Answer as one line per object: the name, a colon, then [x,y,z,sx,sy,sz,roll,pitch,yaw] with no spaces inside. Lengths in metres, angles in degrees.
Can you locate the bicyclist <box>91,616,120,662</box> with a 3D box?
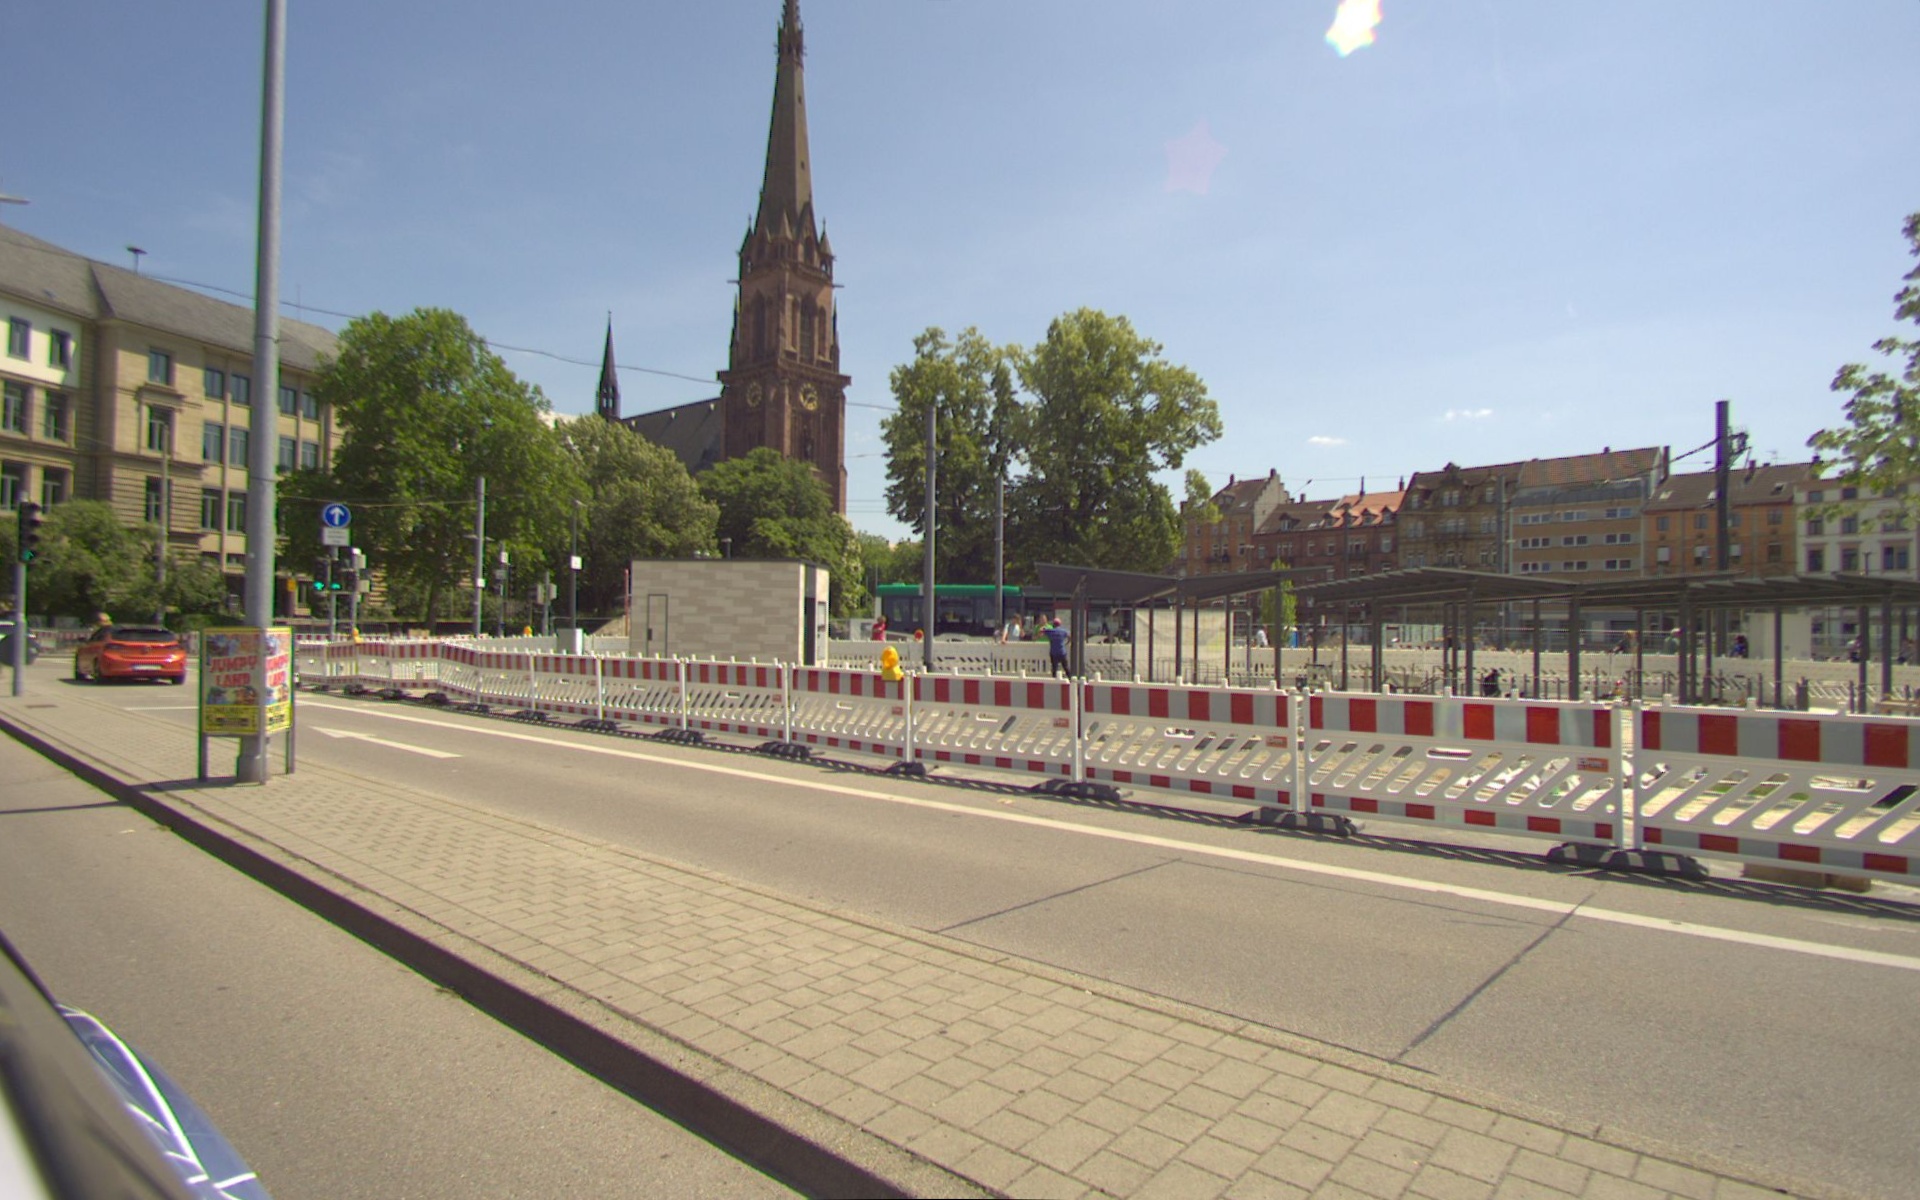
bicyclist: [-32.115,1.472,38.042,0.798,1.678,0.580,-1,-4,38]

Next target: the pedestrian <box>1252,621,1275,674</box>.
pedestrian: [10.764,1.675,35.944,0.598,1.871,0.699,-1,0,1]

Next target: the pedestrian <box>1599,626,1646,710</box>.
pedestrian: [16.463,1.674,25.167,0.637,2.029,0.762,-1,0,0]

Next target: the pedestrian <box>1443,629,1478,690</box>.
pedestrian: [17.044,2.030,34.491,0.869,2.029,0.694,-1,0,10]

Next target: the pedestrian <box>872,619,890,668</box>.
pedestrian: [-2.788,1.528,35.641,0.556,1.714,0.582,0,0,-13]

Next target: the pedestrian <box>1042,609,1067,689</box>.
pedestrian: [2.326,1.199,24.905,0.569,1.920,0.692,-1,0,4]

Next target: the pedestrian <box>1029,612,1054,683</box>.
pedestrian: [2.104,1.220,26.124,0.630,1.802,0.644,-1,0,5]

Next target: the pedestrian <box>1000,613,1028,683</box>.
pedestrian: [1.377,1.231,25.990,0.649,1.769,0.541,-1,0,-4]

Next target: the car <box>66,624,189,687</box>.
car: [-20.564,1.346,24.952,4.012,1.388,1.670,-1,-4,41]

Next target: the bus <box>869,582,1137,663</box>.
bus: [1.752,0.908,40.935,10.477,3.076,2.849,-1,0,8]

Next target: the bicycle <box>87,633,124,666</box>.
bicycle: [-32.071,1.845,37.977,2.007,1.159,0.582,-1,-4,38]

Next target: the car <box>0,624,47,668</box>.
car: [-33.459,1.544,34.619,4.405,1.439,1.804,0,-3,27]

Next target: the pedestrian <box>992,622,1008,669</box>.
pedestrian: [1.461,1.642,36.816,0.539,1.667,0.626,-1,0,1]

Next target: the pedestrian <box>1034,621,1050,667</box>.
pedestrian: [2.953,1.566,36.538,0.513,1.632,0.537,-1,0,2]
